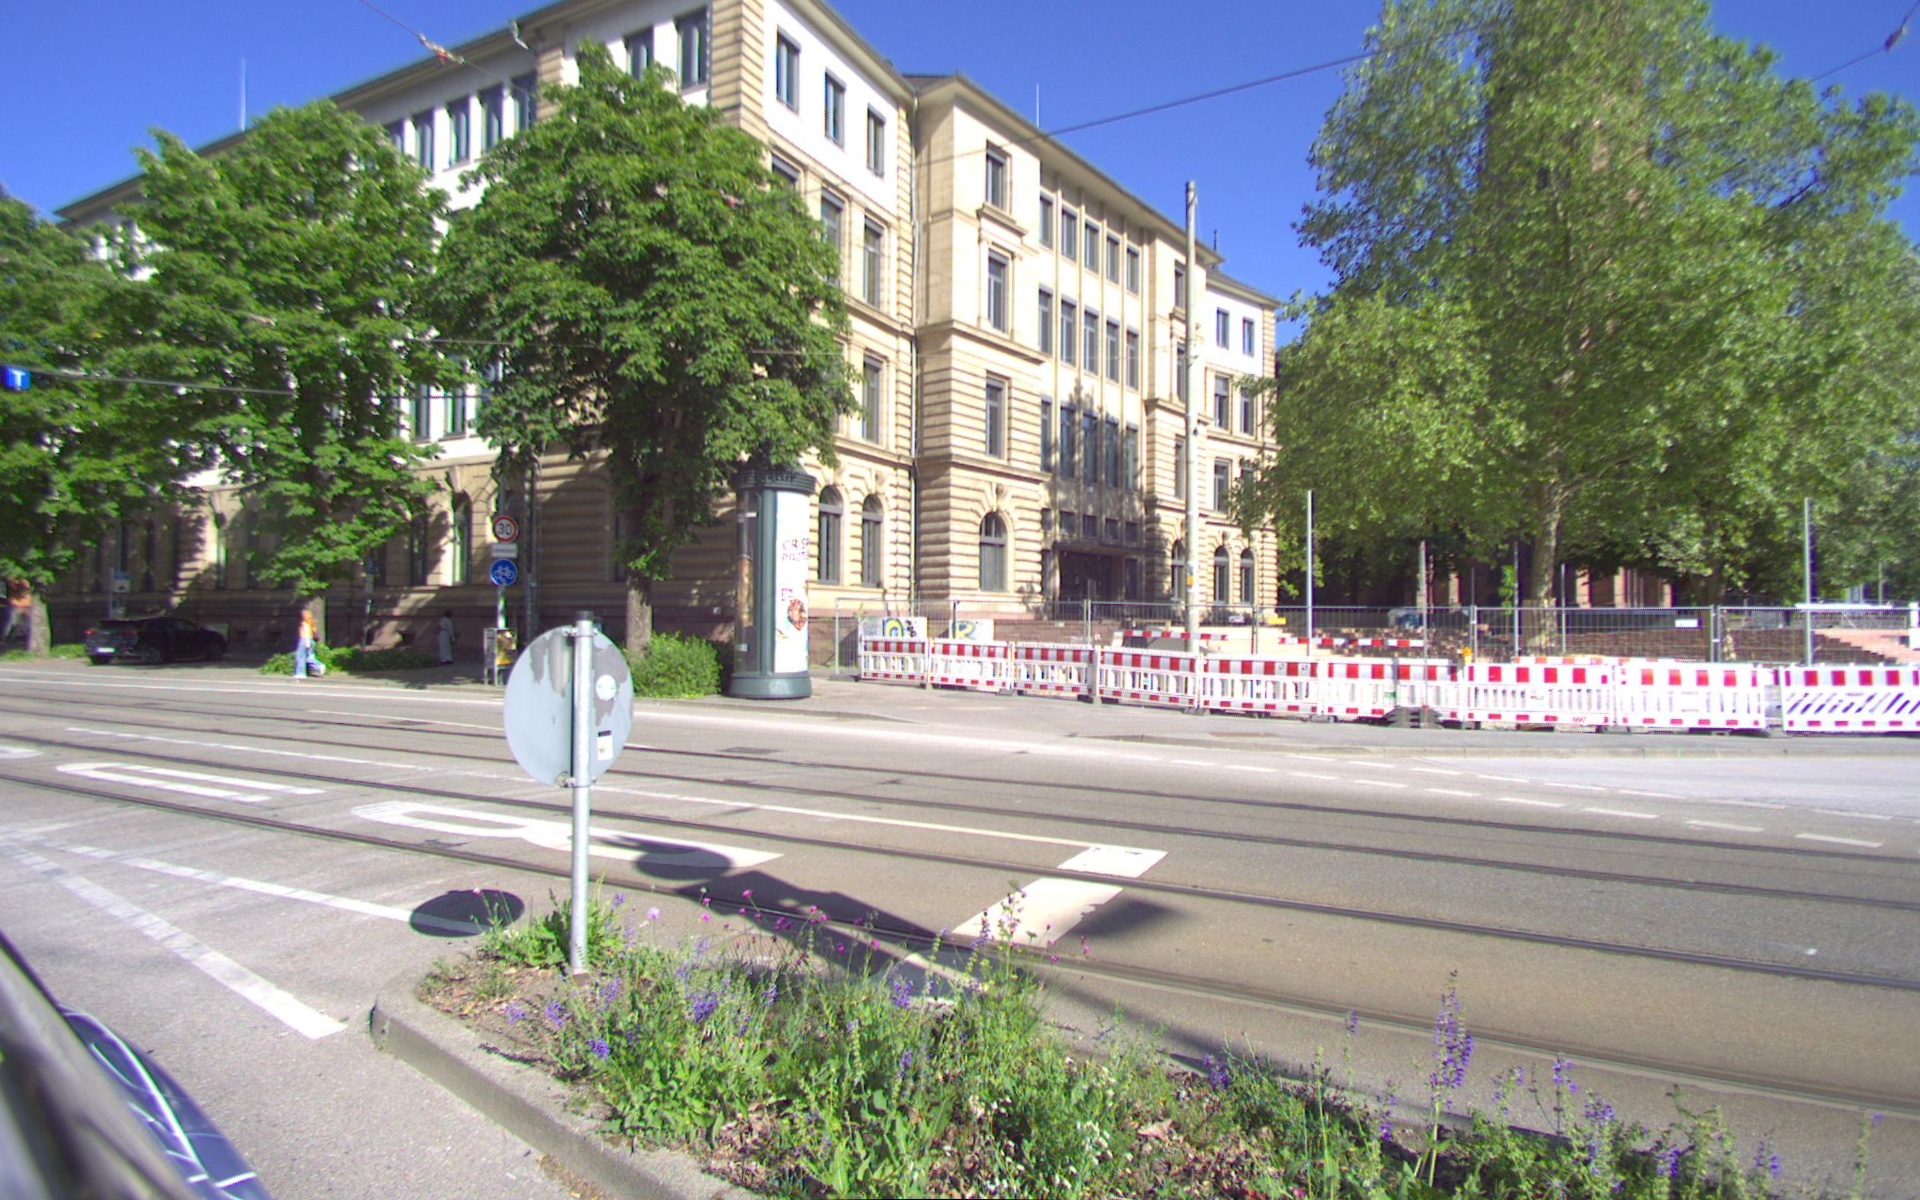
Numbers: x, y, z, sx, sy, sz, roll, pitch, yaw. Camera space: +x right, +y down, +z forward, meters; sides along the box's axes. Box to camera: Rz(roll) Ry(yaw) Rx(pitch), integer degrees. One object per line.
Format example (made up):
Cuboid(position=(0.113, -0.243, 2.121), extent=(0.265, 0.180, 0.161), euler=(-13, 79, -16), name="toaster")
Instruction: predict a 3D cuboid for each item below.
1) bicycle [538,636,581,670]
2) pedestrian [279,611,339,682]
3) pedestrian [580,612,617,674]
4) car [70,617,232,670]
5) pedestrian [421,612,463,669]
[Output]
Cuboid(position=(-11.465, 1.509, 28.957), extent=(1.356, 0.910, 0.394), euler=(0, 0, 31), name="bicycle")
Cuboid(position=(-16.133, 1.167, 25.095), extent=(1.024, 1.682, 0.768), euler=(-4, -5, 15), name="pedestrian")
Cuboid(position=(-9.258, 1.095, 25.924), extent=(0.651, 1.574, 0.573), euler=(-1, -2, 29), name="pedestrian")
Cuboid(position=(-26.060, 1.381, 32.804), extent=(1.895, 1.586, 4.108), euler=(0, -2, 1), name="car")
Cuboid(position=(-15.225, 1.173, 29.735), extent=(0.672, 1.578, 0.848), euler=(1, 3, 38), name="pedestrian")
